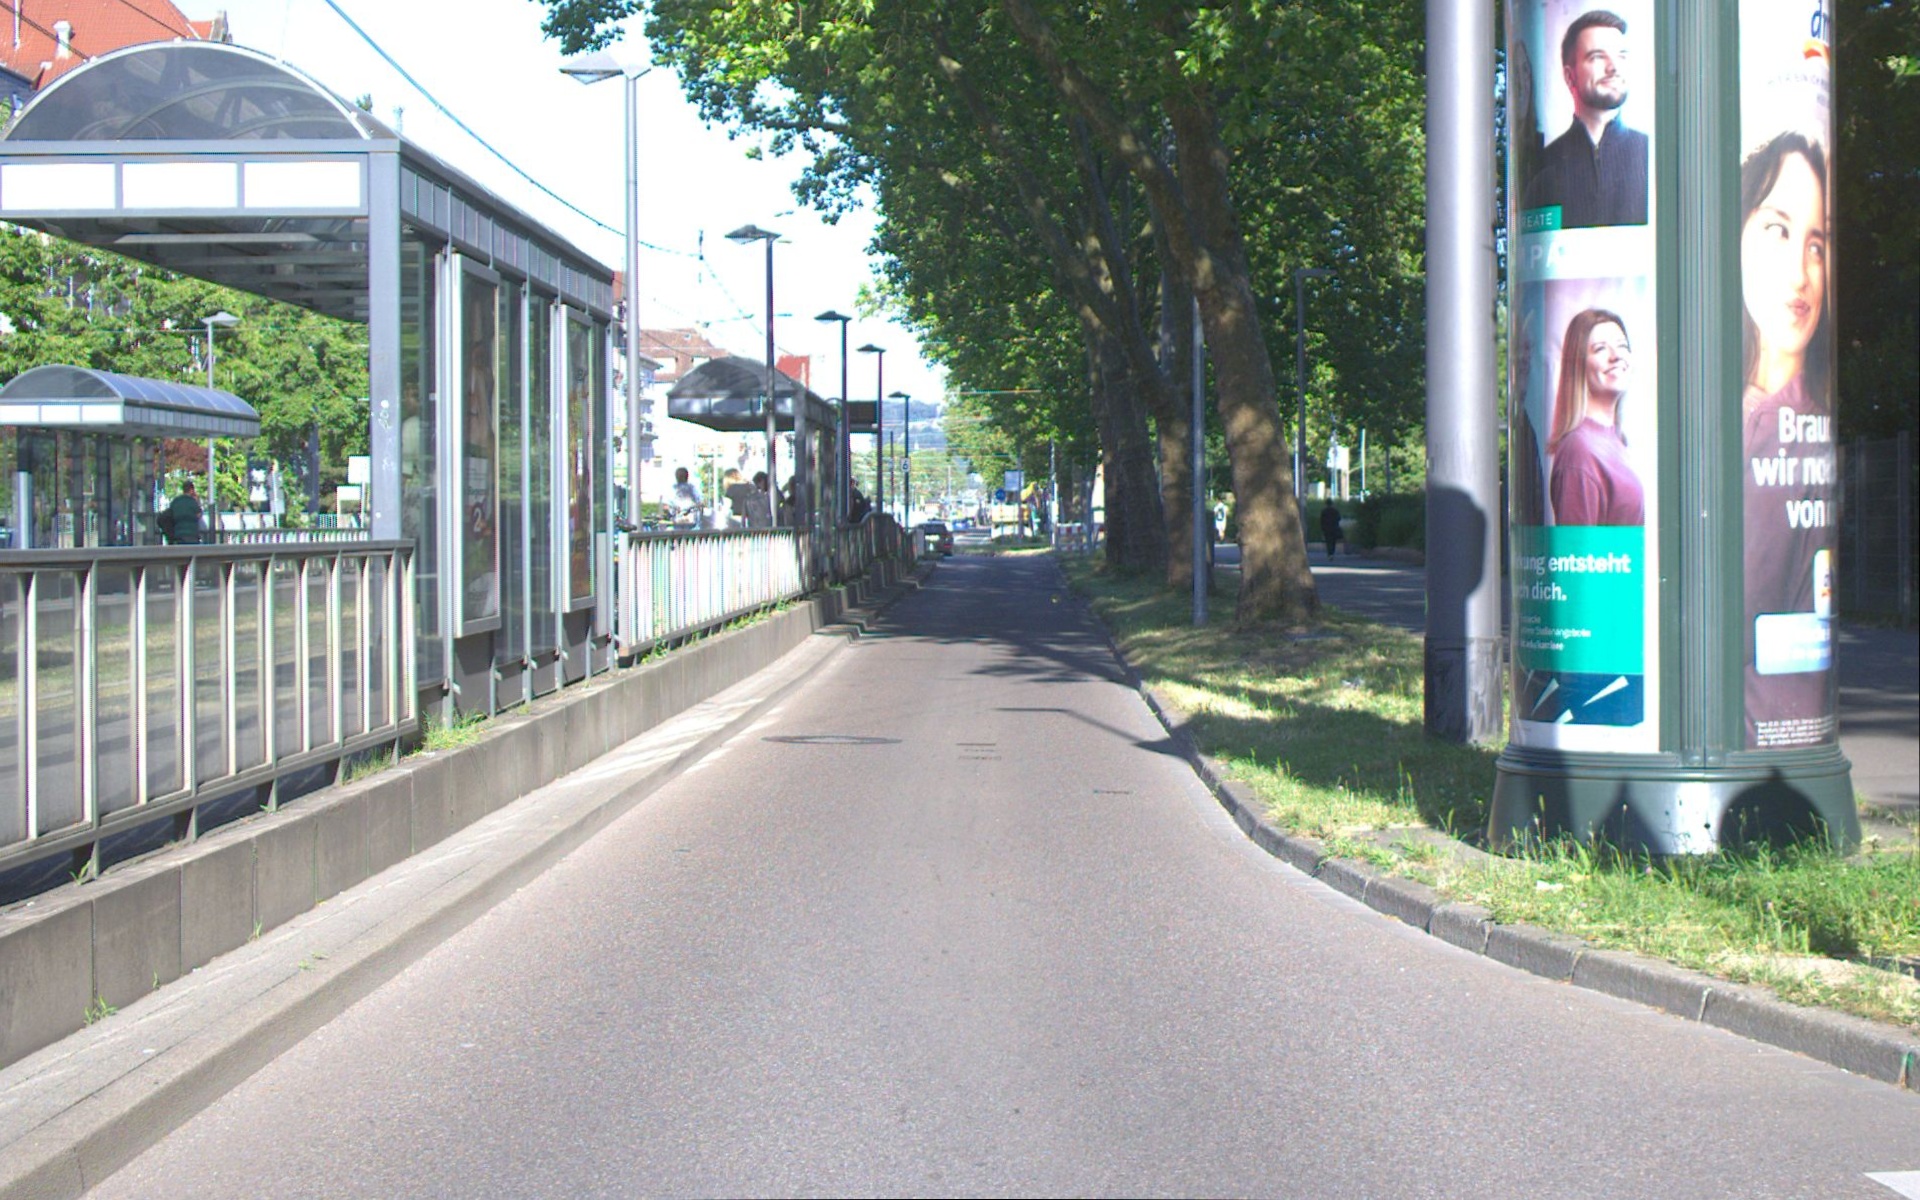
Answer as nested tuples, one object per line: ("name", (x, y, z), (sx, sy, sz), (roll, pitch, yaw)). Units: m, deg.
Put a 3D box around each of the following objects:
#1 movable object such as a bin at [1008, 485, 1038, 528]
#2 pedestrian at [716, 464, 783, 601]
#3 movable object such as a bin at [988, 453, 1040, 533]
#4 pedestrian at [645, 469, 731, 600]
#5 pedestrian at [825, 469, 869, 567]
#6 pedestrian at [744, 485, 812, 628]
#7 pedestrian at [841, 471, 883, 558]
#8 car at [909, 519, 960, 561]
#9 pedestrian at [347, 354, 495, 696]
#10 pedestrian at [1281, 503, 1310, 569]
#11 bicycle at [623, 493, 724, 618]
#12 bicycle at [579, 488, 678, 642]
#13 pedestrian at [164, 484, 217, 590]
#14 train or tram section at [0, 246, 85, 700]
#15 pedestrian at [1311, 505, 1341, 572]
("movable object such as a bin", (4.551, -6.772, 249.870), (1.968, 3.002, 4.797), (-3, 1, 0))
("pedestrian", (-2.433, -0.785, 39.798), (0.678, 1.556, 0.851), (2, 1, 1))
("movable object such as a bin", (3.537, -7.068, 227.710), (3.087, 5.071, 8.892), (-3, 1, 0))
("pedestrian", (-3.637, -0.880, 45.939), (0.907, 1.716, 0.631), (1, 1, -33))
("pedestrian", (-1.985, -1.440, 60.423), (0.679, 1.684, 0.894), (2, 1, 1))
("pedestrian", (-2.282, -0.551, 43.150), (0.765, 1.752, 0.695), (2, 1, 0))
("pedestrian", (-1.921, -1.681, 67.578), (0.757, 1.684, 0.678), (2, 1, 1))
("car", (-1.033, -2.494, 142.951), (1.993, 1.678, 4.000), (2, 1, 1))
("pedestrian", (-3.076, -0.430, 19.666), (0.669, 1.896, 0.824), (2, 1, 0))
("pedestrian", (8.434, -1.614, 86.515), (0.627, 1.651, 0.740), (-2, 1, 1))
("bicycle", (-2.693, -0.433, 32.515), (0.737, 1.129, 2.031), (2, 1, 1))
("bicycle", (-2.544, -0.284, 26.538), (0.513, 1.129, 2.104), (2, 1, 1))
("pedestrian", (-12.336, -1.012, 55.102), (0.679, 1.684, 0.654), (2, 1, -1))
("train or tram section", (-9.239, -0.965, 25.429), (2.869, 3.673, 9.684), (0, 1, 1))
("pedestrian", (9.194, -1.556, 86.395), (0.650, 1.651, 0.783), (-1, 1, 1))
